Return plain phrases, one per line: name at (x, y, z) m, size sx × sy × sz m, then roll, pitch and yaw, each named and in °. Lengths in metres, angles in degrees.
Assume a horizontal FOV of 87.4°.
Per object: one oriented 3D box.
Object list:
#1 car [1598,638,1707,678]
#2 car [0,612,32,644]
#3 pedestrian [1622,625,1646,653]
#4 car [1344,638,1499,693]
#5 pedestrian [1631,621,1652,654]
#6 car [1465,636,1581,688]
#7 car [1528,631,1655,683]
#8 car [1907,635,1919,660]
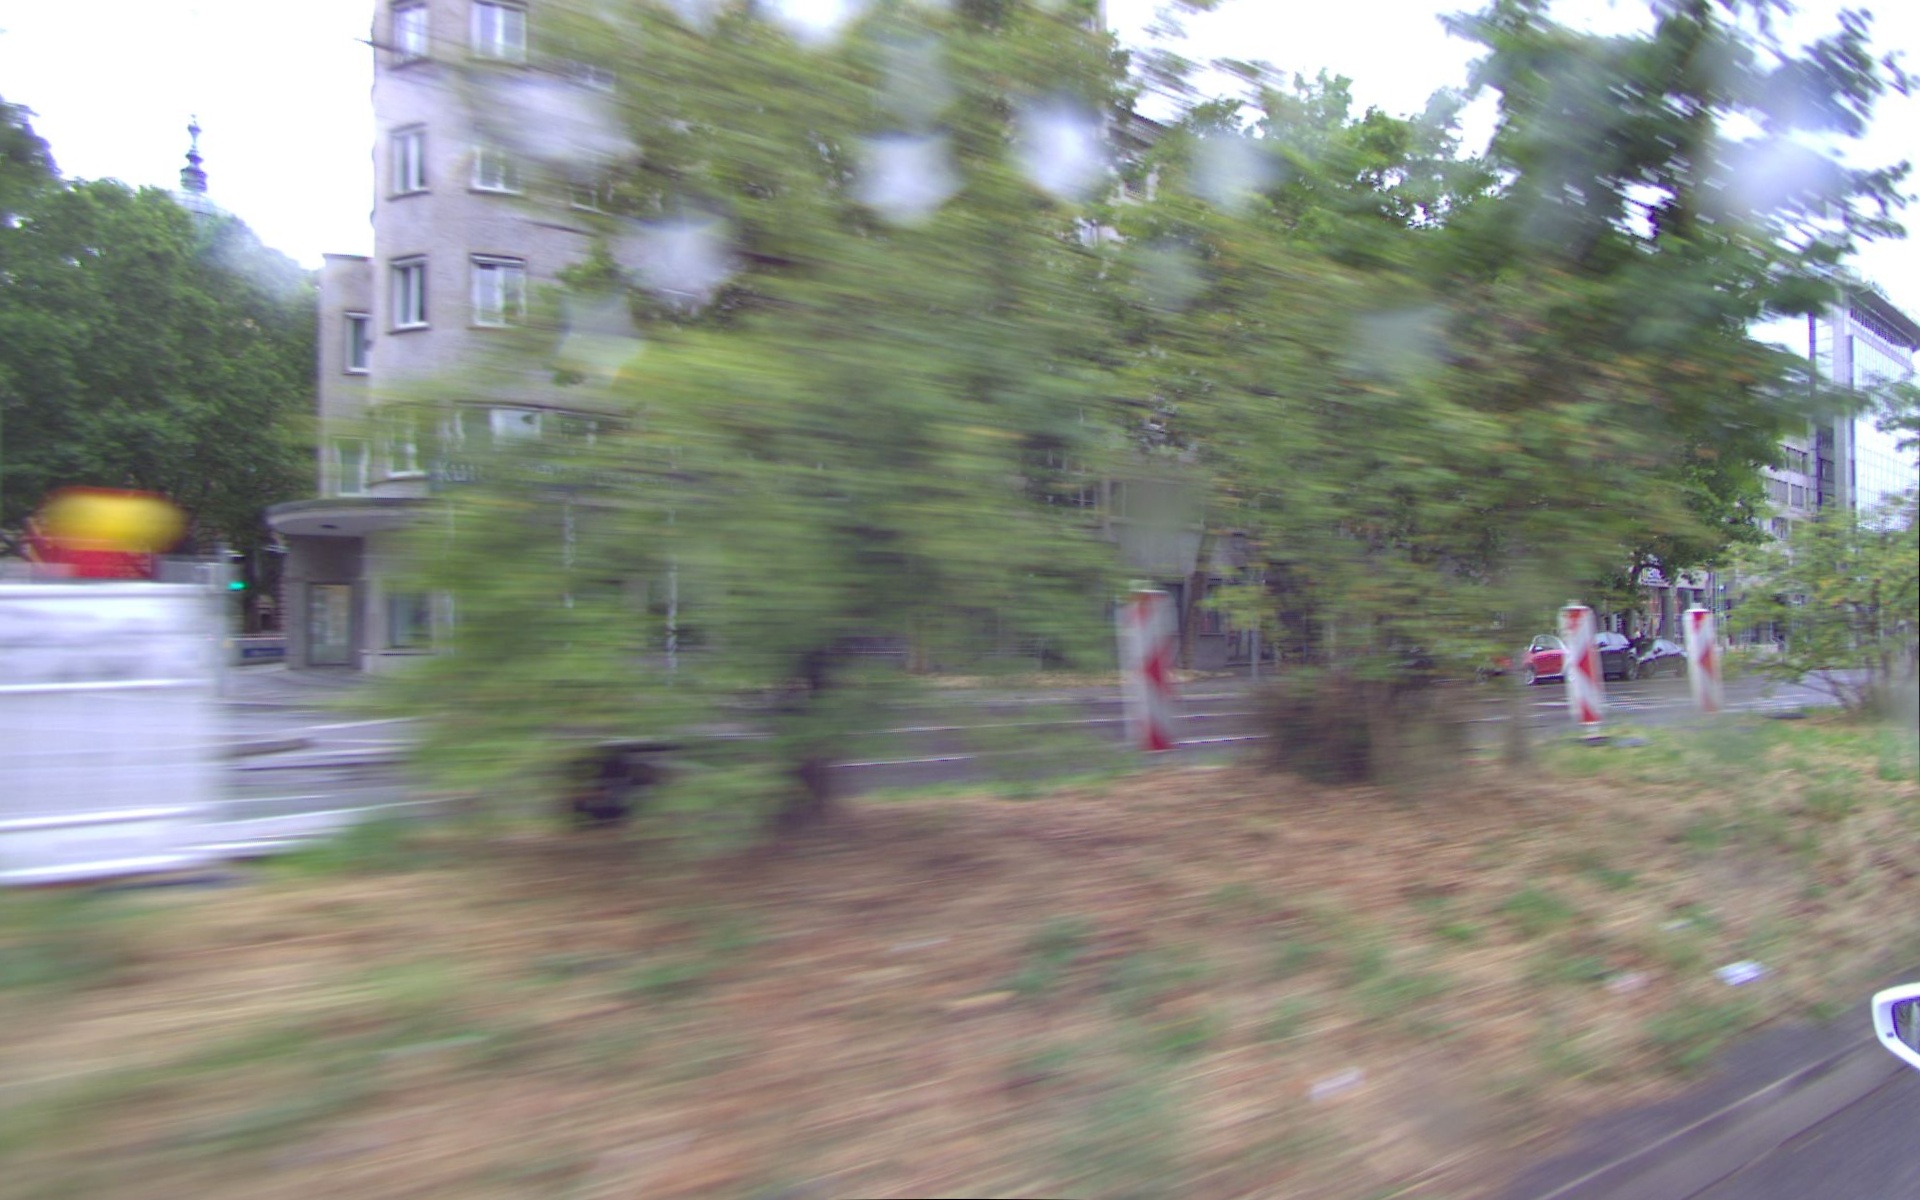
car at (26.055, 2.185, 37.766) m, size 4.605 × 1.412 × 1.758 m, roll 1°, pitch -5°, yaw -34°
car at (-48.760, 1.397, 50.175) m, size 1.715 × 1.572 × 3.972 m, roll 1°, pitch -1°, yaw -13°
pedestrian at (39.907, 2.304, 59.481) m, size 0.671 × 1.667 × 0.986 m, roll 1°, pitch -2°, yaw -39°
car at (13.144, 1.831, 28.532) m, size 4.621 × 1.453 × 1.759 m, roll 1°, pitch -5°, yaw -33°
pedestrian at (40.653, 2.236, 59.890) m, size 0.670 × 1.943 × 0.837 m, roll 1°, pitch -2°, yaw -34°
car at (17.479, 1.913, 31.162) m, size 3.588 × 1.539 × 1.677 m, roll 1°, pitch -5°, yaw -34°
car at (21.630, 1.934, 34.335) m, size 4.790 × 1.674 × 1.759 m, roll 1°, pitch -5°, yaw -33°
car at (61.546, 3.033, 63.449) m, size 4.040 × 1.556 × 1.861 m, roll 3°, pitch -3°, yaw -38°
